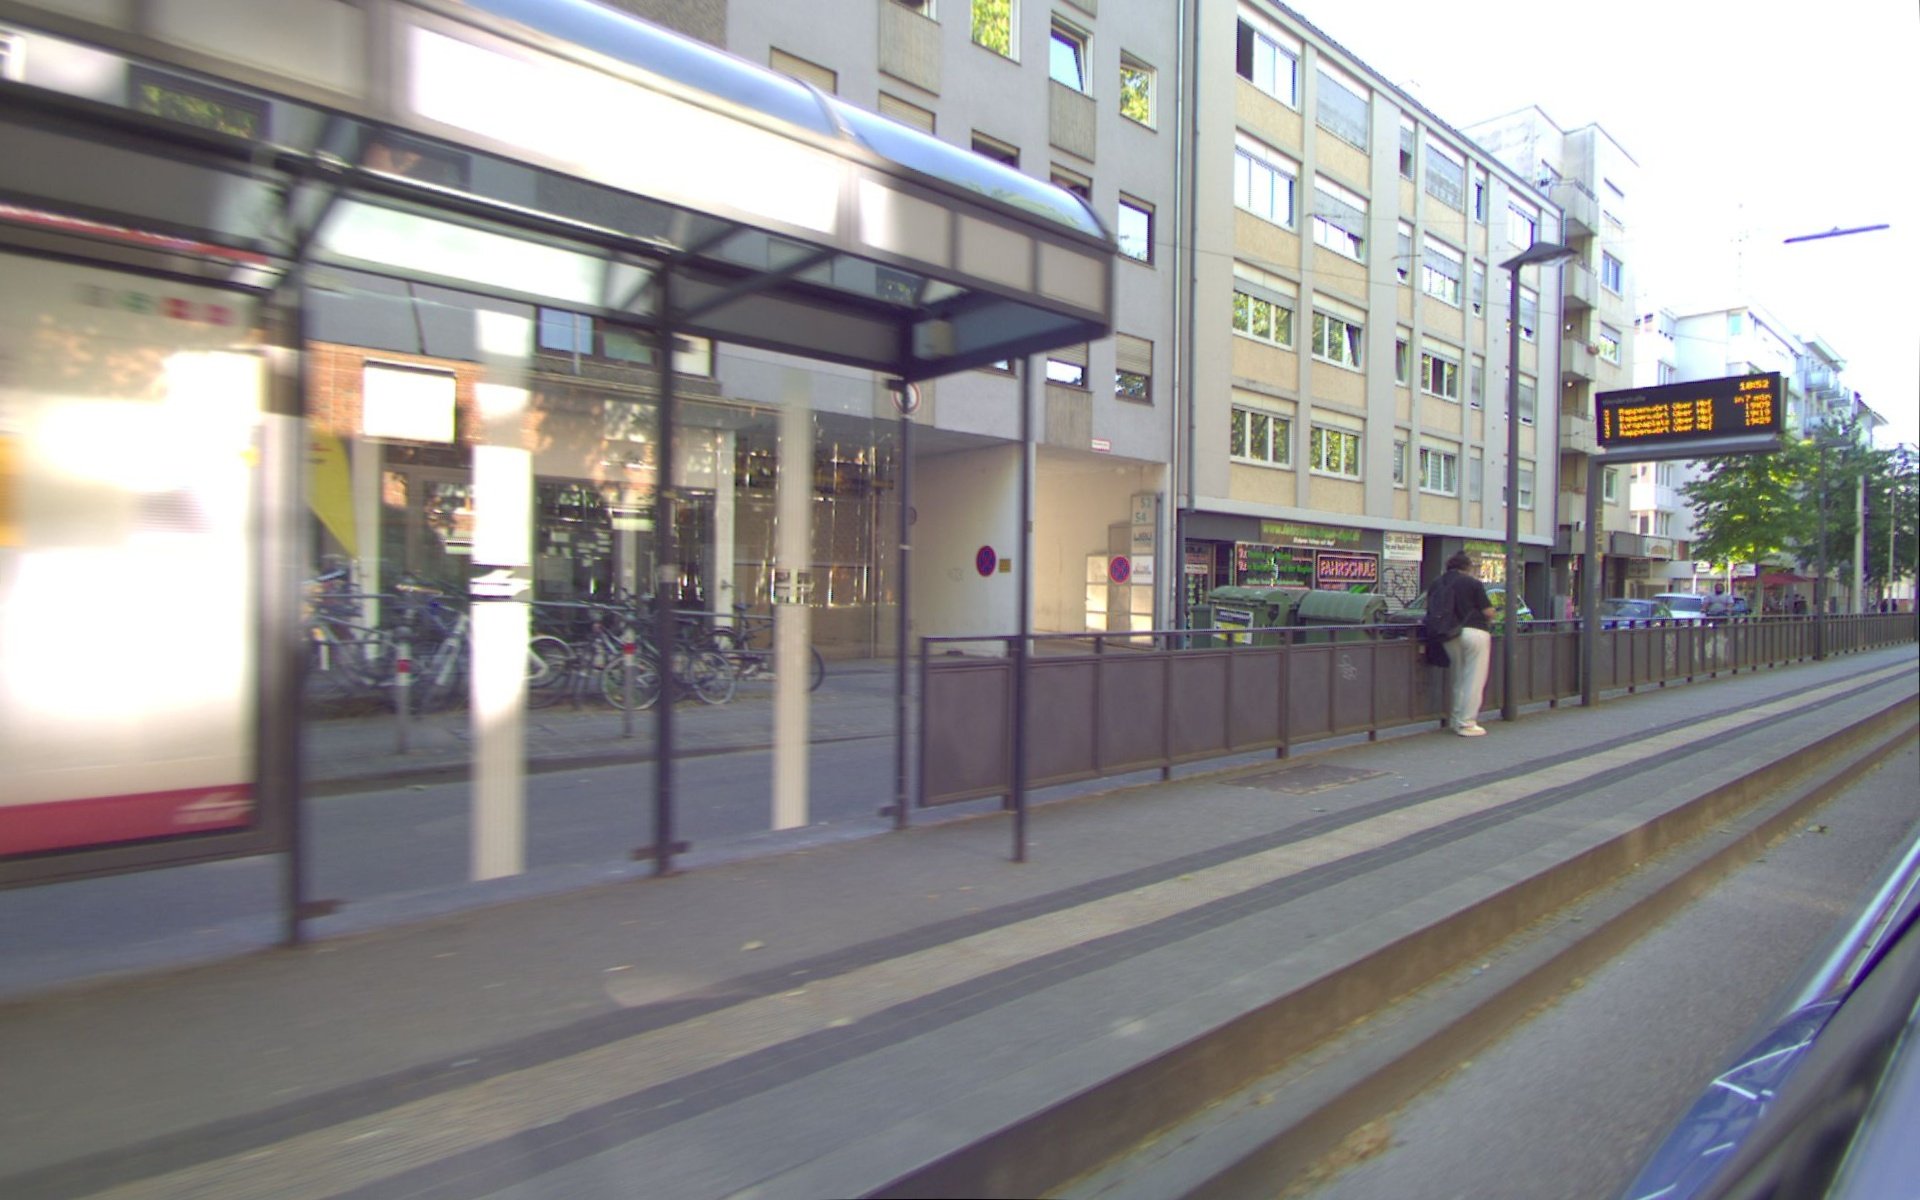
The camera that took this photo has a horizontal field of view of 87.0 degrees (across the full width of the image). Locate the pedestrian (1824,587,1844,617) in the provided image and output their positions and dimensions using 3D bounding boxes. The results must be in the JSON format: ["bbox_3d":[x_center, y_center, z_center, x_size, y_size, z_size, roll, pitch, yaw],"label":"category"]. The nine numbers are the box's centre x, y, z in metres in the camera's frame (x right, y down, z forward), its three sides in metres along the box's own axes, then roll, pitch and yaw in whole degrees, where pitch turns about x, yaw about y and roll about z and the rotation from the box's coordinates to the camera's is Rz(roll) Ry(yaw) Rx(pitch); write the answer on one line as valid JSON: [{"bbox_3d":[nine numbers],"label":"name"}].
[{"bbox_3d":[48.664,0.120,56.338,0.954,1.675,0.751,0,0,-42],"label":"pedestrian"}]

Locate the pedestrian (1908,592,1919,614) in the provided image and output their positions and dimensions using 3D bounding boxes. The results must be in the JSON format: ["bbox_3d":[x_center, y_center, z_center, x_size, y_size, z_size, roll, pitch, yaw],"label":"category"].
[{"bbox_3d":[74.081,0.213,78.544,0.822,1.675,0.684,0,0,-42],"label":"pedestrian"}]

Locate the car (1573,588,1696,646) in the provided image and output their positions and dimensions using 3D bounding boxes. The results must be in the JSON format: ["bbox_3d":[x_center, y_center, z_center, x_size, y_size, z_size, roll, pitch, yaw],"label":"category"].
[{"bbox_3d":[18.936,0.417,28.351,3.930,1.505,1.897,-1,0,-41],"label":"car"}]

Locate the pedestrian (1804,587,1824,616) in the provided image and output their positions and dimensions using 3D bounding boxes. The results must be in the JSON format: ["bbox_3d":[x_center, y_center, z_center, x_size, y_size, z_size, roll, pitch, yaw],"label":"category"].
[{"bbox_3d":[49.439,0.100,58.588,0.954,1.675,0.751,0,0,-42],"label":"pedestrian"}]

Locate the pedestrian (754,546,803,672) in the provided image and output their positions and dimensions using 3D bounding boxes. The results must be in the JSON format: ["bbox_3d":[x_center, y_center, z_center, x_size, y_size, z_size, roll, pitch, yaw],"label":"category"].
[{"bbox_3d":[-2.741,0.124,15.231,0.666,1.827,0.775,-1,0,-13],"label":"pedestrian"}]

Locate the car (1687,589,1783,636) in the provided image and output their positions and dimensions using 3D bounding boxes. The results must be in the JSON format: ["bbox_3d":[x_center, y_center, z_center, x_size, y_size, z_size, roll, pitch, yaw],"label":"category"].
[{"bbox_3d":[28.038,0.405,36.575,3.930,1.612,1.997,-1,0,-41],"label":"car"}]

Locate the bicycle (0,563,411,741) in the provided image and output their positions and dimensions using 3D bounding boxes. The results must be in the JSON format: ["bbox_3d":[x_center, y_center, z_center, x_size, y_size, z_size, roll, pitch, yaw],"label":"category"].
[{"bbox_3d":[-6.218,0.348,8.509,0.768,1.194,2.750,7,4,32],"label":"bicycle"}]

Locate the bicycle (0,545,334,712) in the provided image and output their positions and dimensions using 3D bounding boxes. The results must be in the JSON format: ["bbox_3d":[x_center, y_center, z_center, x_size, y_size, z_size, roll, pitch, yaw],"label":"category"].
[{"bbox_3d":[-6.944,0.196,8.520,0.769,1.194,2.749,7,4,34],"label":"bicycle"}]

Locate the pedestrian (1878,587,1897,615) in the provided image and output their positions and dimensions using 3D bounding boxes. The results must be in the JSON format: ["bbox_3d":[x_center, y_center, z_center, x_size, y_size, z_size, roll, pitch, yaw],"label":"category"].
[{"bbox_3d":[56.446,0.046,61.604,0.954,1.675,0.751,0,0,-42],"label":"pedestrian"}]

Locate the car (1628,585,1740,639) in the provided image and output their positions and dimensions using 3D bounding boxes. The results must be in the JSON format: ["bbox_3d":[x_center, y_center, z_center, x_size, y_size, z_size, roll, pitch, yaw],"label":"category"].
[{"bbox_3d":[22.748,0.329,31.740,3.930,1.601,1.997,-1,0,-41],"label":"car"}]

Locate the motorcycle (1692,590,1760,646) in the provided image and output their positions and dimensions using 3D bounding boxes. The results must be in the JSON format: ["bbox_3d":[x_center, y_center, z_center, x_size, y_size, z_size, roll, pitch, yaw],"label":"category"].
[{"bbox_3d":[21.027,0.478,27.773,2.170,1.473,1.054,0,0,-41],"label":"motorcycle"}]

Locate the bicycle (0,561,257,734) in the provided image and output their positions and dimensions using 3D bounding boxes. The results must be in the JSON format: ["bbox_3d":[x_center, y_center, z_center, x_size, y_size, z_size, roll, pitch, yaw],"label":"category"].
[{"bbox_3d":[-7.097,0.337,7.708,0.772,1.194,2.738,8,5,44],"label":"bicycle"}]

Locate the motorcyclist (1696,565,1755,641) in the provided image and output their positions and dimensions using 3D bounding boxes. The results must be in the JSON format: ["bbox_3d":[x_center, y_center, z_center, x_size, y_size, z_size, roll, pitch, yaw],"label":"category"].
[{"bbox_3d":[20.998,0.075,27.762,1.157,2.039,1.054,0,0,-41],"label":"motorcyclist"}]

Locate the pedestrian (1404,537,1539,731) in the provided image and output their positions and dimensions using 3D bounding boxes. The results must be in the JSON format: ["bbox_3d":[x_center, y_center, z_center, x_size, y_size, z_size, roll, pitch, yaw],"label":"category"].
[{"bbox_3d":[4.427,0.276,8.783,0.836,1.596,0.650,0,0,-23],"label":"pedestrian"}]

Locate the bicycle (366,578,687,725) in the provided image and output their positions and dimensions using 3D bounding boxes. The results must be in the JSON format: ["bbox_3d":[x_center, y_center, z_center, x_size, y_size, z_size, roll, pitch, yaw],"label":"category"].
[{"bbox_3d":[-4.125,0.457,9.875,0.772,1.194,2.738,8,5,44],"label":"bicycle"}]

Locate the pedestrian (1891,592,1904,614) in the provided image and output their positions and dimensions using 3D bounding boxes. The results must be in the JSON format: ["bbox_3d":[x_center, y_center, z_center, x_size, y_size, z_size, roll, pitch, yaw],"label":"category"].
[{"bbox_3d":[73.414,0.212,79.228,0.822,1.675,0.684,0,0,-42],"label":"pedestrian"}]

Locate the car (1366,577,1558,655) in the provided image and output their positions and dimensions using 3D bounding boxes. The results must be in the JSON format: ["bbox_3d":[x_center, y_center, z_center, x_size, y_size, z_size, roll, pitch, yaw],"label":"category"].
[{"bbox_3d":[10.812,0.306,21.665,4.576,1.502,1.957,0,0,-39],"label":"car"}]

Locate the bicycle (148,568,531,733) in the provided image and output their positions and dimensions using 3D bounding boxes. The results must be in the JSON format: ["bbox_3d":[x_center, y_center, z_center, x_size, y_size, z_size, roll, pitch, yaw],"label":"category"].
[{"bbox_3d":[-5.350,0.400,8.933,0.772,1.194,2.738,8,5,44],"label":"bicycle"}]

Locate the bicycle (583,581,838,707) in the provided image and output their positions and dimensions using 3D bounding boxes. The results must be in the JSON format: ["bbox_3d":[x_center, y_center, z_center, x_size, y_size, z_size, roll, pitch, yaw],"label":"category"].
[{"bbox_3d":[-2.729,0.460,11.407,0.772,1.194,2.738,8,5,44],"label":"bicycle"}]
